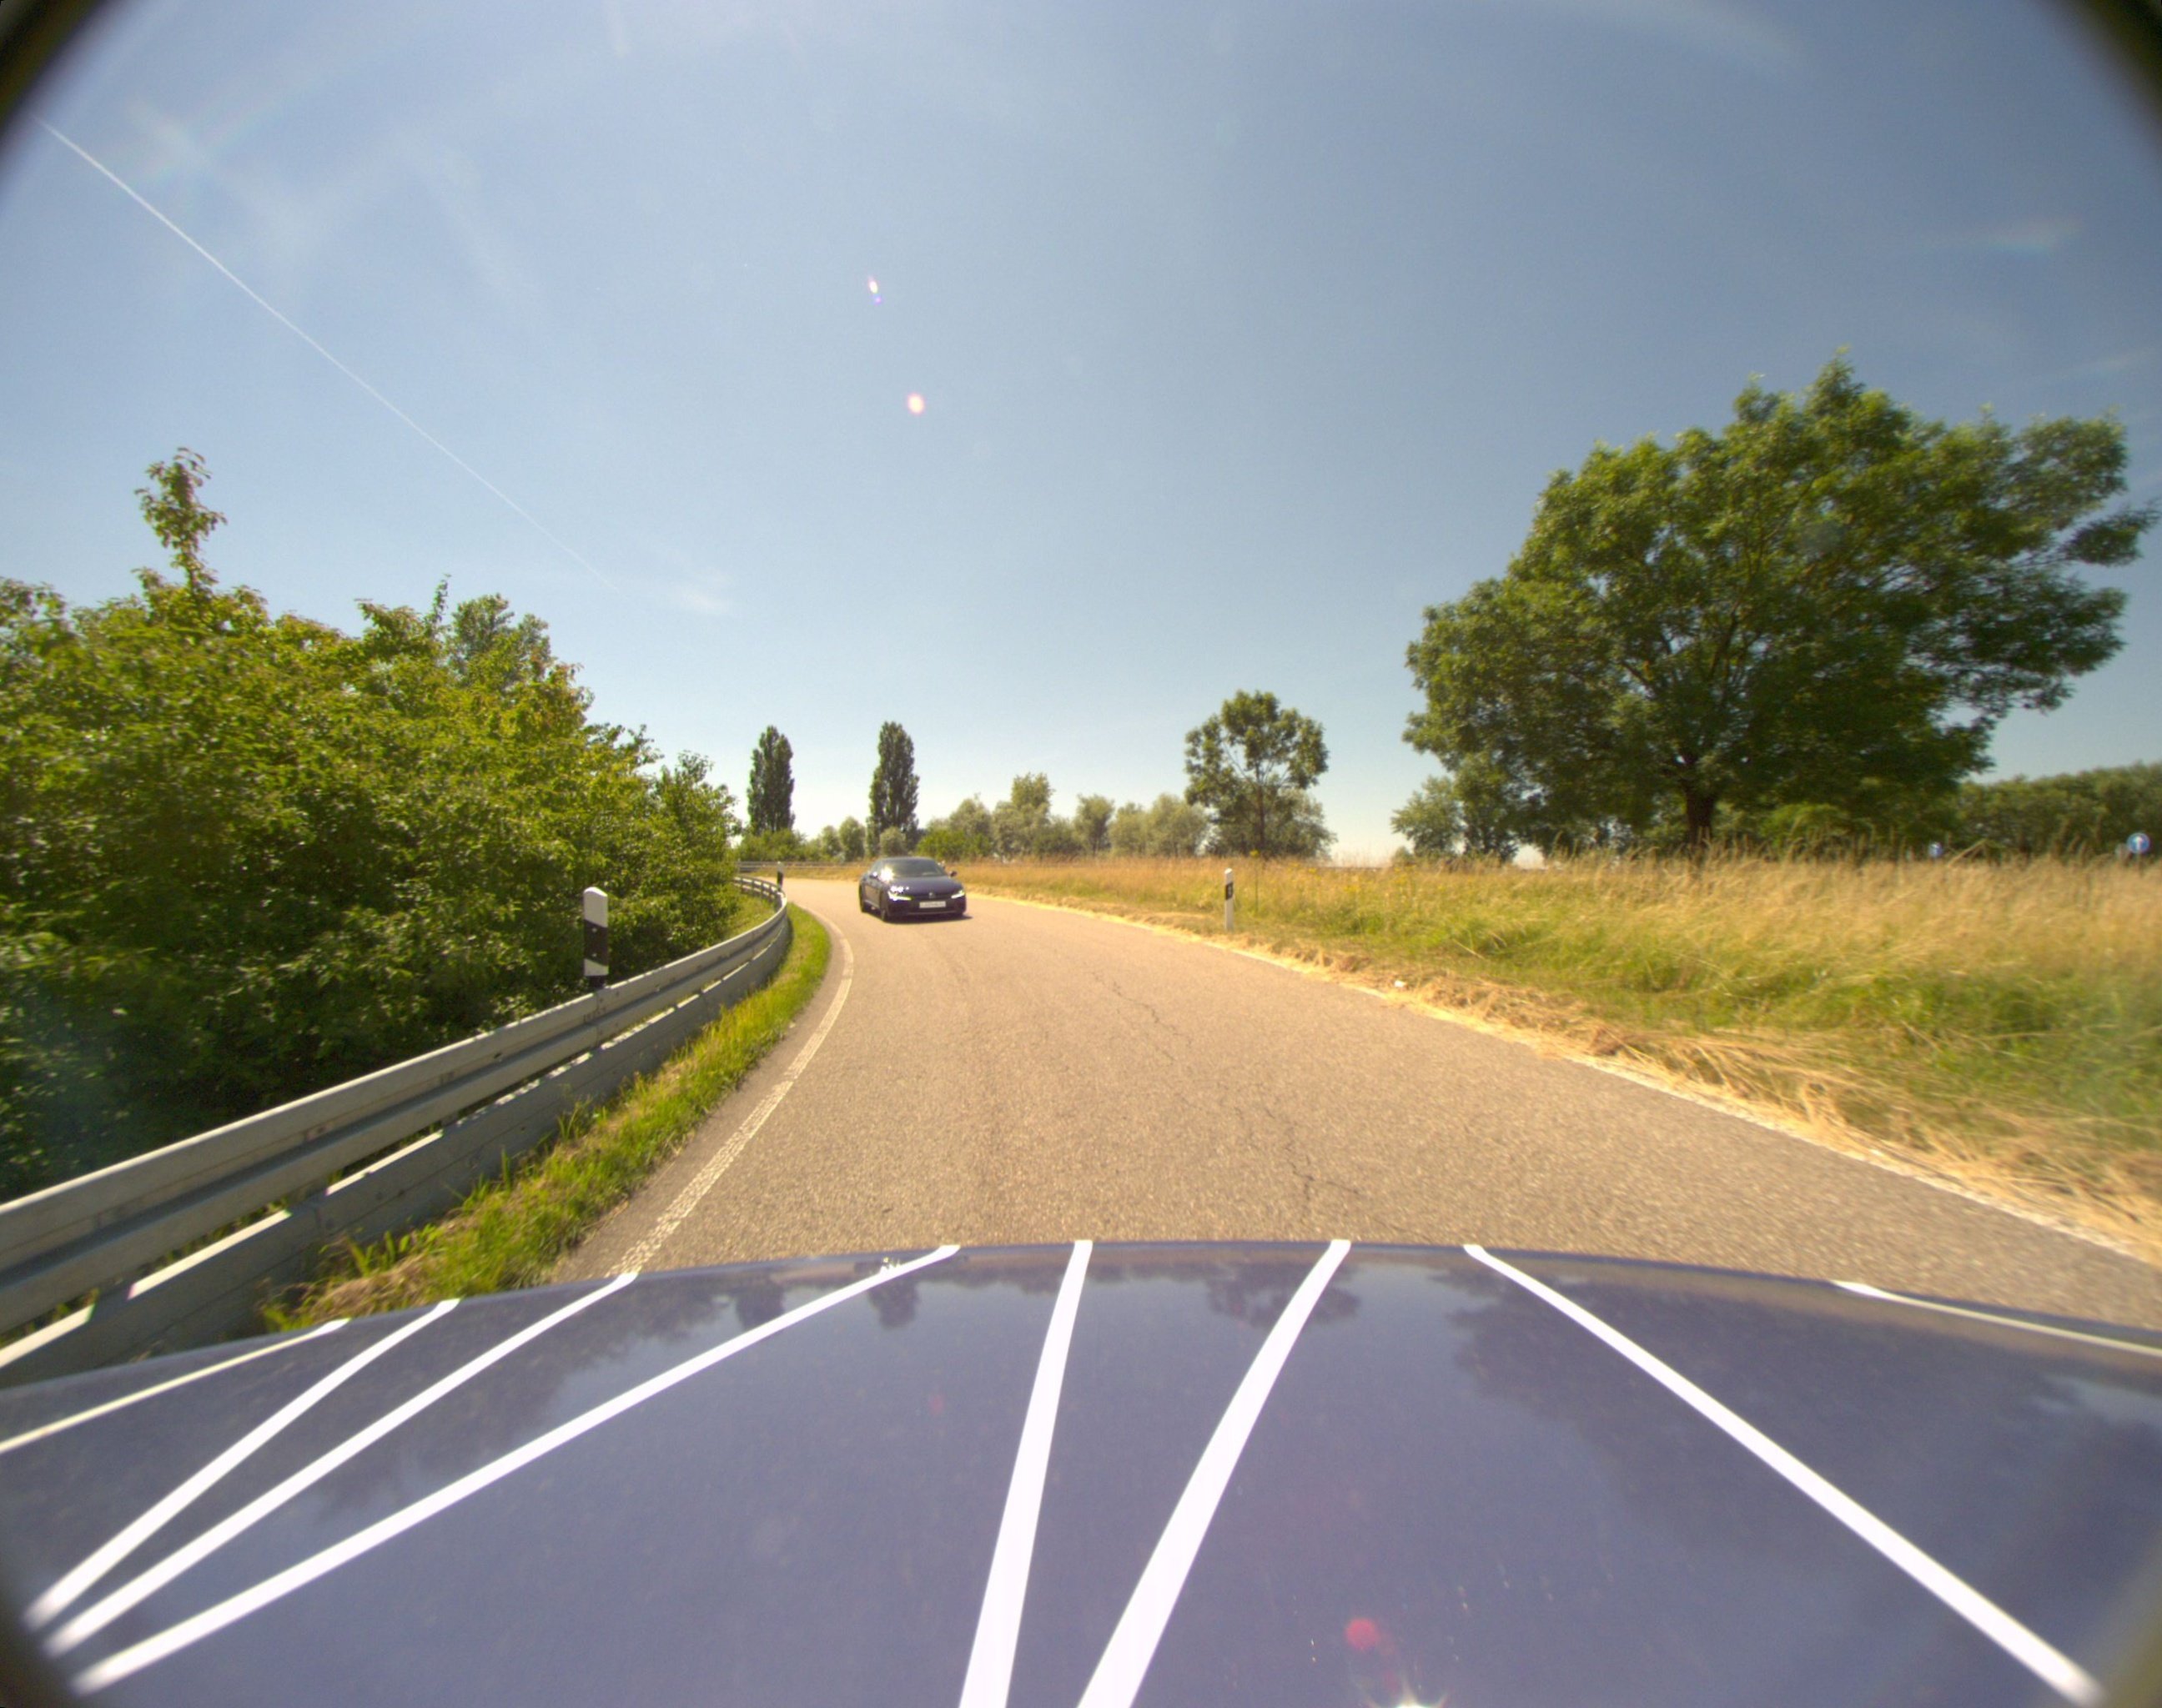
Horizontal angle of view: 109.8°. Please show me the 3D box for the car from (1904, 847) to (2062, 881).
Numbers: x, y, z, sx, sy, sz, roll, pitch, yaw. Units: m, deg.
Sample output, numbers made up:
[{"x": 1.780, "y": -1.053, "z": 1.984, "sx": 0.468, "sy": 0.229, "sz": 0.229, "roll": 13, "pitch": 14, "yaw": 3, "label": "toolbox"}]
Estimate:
[{"x": 43.162, "y": 0.471, "z": 36.503, "sx": 4.636, "sy": 1.564, "sz": 2.002, "roll": 0, "pitch": 0, "yaw": 12, "label": "car"}]

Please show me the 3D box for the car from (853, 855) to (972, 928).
[{"x": -4.258, "y": 0.805, "z": 18.668, "sx": 1.846, "sy": 1.422, "sz": 4.523, "roll": -4, "pitch": 2, "yaw": -25, "label": "car"}]

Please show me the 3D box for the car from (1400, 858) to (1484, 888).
[{"x": 20.418, "y": 1.053, "z": 43.118, "sx": 3.993, "sy": 1.602, "sz": 1.833, "roll": -1, "pitch": 1, "yaw": 12, "label": "car"}]
